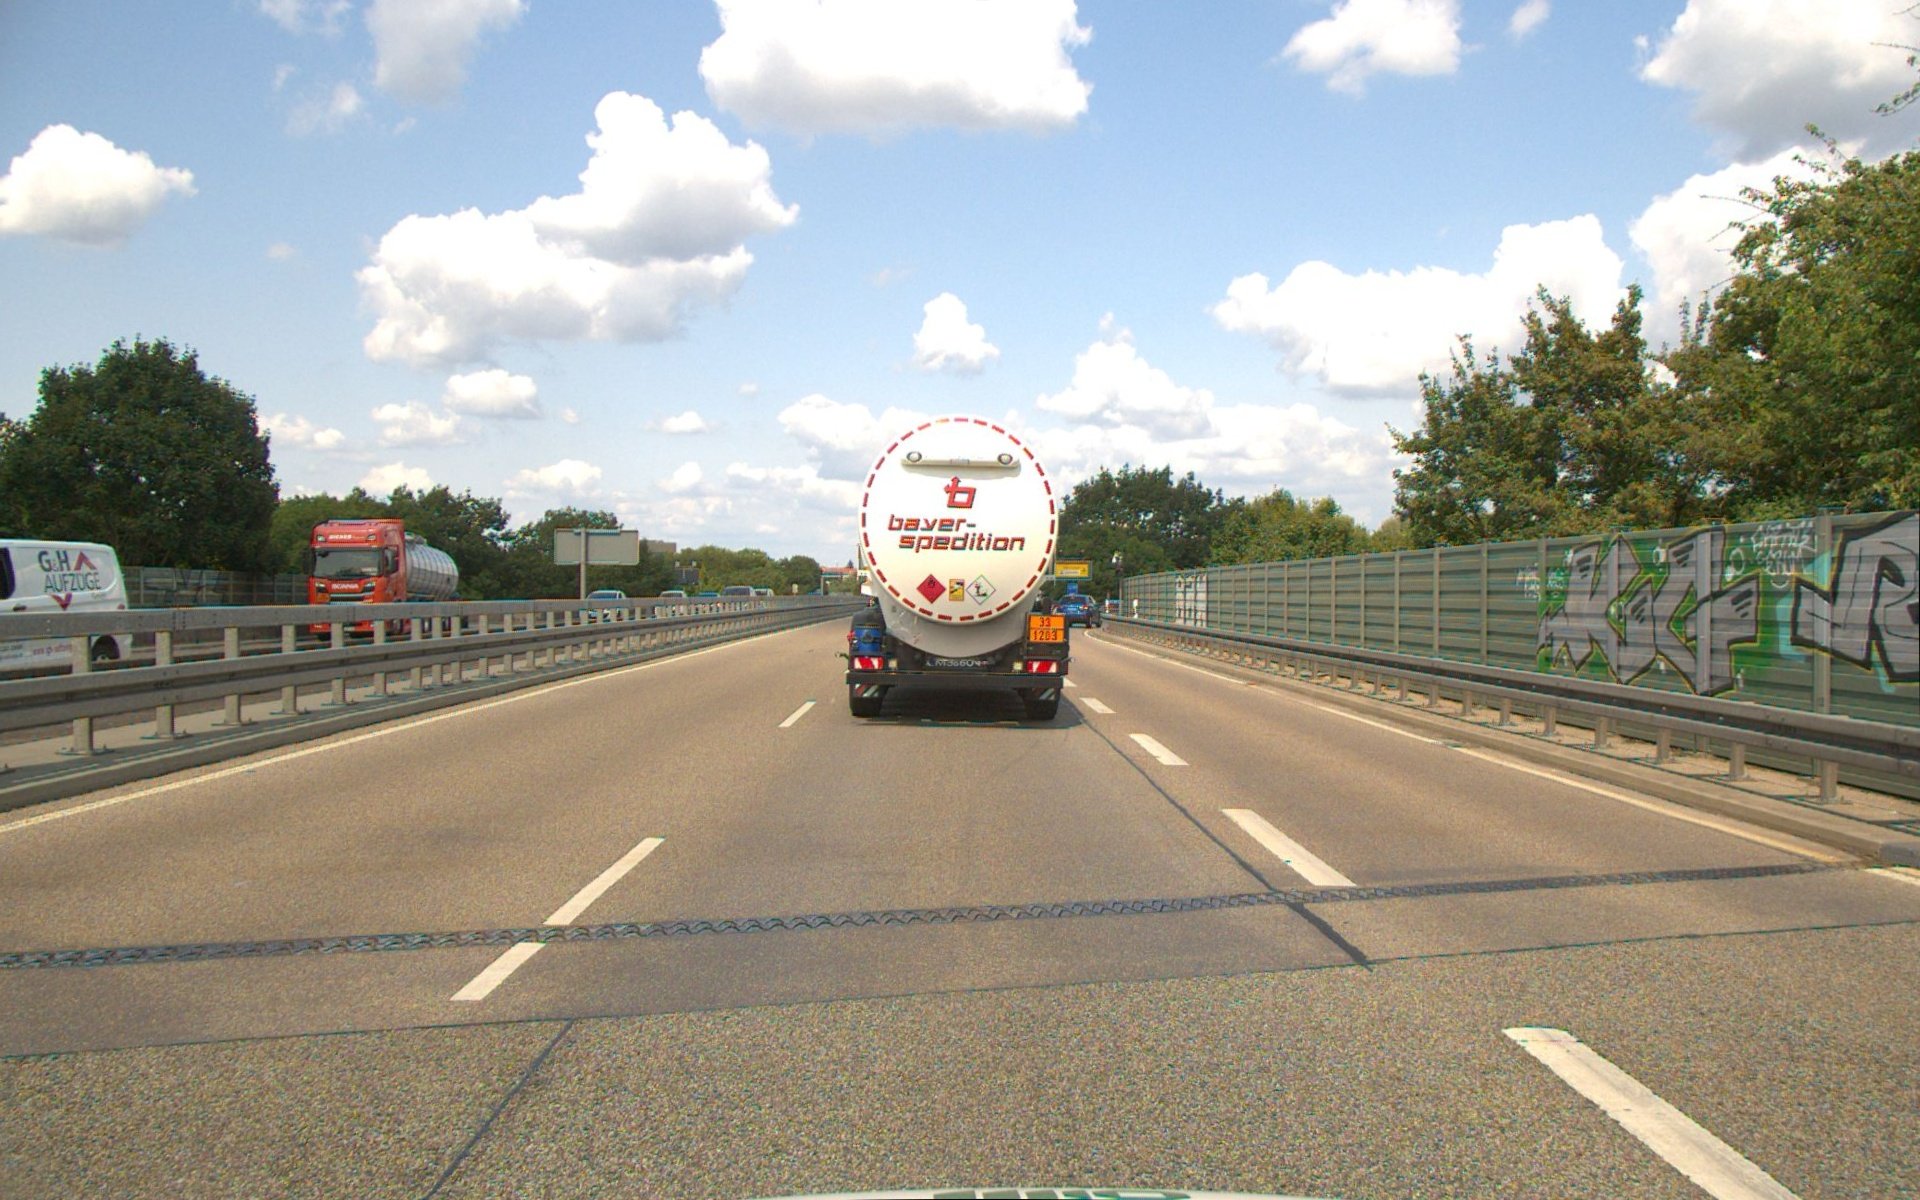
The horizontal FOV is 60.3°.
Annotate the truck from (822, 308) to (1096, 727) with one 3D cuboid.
[{"bbox_3d":[-0.077,-0.881,21.991,2.836,4.445,8.027,2,0,-1],"label":"truck"}]

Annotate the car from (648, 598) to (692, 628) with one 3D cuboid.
[{"bbox_3d":[-16.422,0.707,93.838,1.885,1.601,3.885,2,0,-2],"label":"car"}]

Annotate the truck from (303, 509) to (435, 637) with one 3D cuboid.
[{"bbox_3d":[-19.200,-0.837,54.101,2.597,3.848,6.223,2,0,-7],"label":"truck"}]

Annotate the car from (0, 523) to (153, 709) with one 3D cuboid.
[{"bbox_3d":[-11.502,0.213,19.041,2.038,2.024,5.225,-2,0,-3],"label":"car"}]

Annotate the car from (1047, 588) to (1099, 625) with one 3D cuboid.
[{"bbox_3d":[5.714,0.327,82.938,1.951,1.736,4.003,2,0,13],"label":"car"}]

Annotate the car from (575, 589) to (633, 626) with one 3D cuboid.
[{"bbox_3d":[-15.717,0.332,73.169,1.746,1.535,3.959,2,0,-1],"label":"car"}]

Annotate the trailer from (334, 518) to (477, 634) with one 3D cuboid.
[{"bbox_3d":[-19.933,-0.781,60.174,2.633,3.734,11.011,2,0,-7],"label":"trailer"}]

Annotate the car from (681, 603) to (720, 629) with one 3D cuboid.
[{"bbox_3d":[-16.388,1.009,104.472,1.885,1.601,4.243,0,0,-2],"label":"car"}]
